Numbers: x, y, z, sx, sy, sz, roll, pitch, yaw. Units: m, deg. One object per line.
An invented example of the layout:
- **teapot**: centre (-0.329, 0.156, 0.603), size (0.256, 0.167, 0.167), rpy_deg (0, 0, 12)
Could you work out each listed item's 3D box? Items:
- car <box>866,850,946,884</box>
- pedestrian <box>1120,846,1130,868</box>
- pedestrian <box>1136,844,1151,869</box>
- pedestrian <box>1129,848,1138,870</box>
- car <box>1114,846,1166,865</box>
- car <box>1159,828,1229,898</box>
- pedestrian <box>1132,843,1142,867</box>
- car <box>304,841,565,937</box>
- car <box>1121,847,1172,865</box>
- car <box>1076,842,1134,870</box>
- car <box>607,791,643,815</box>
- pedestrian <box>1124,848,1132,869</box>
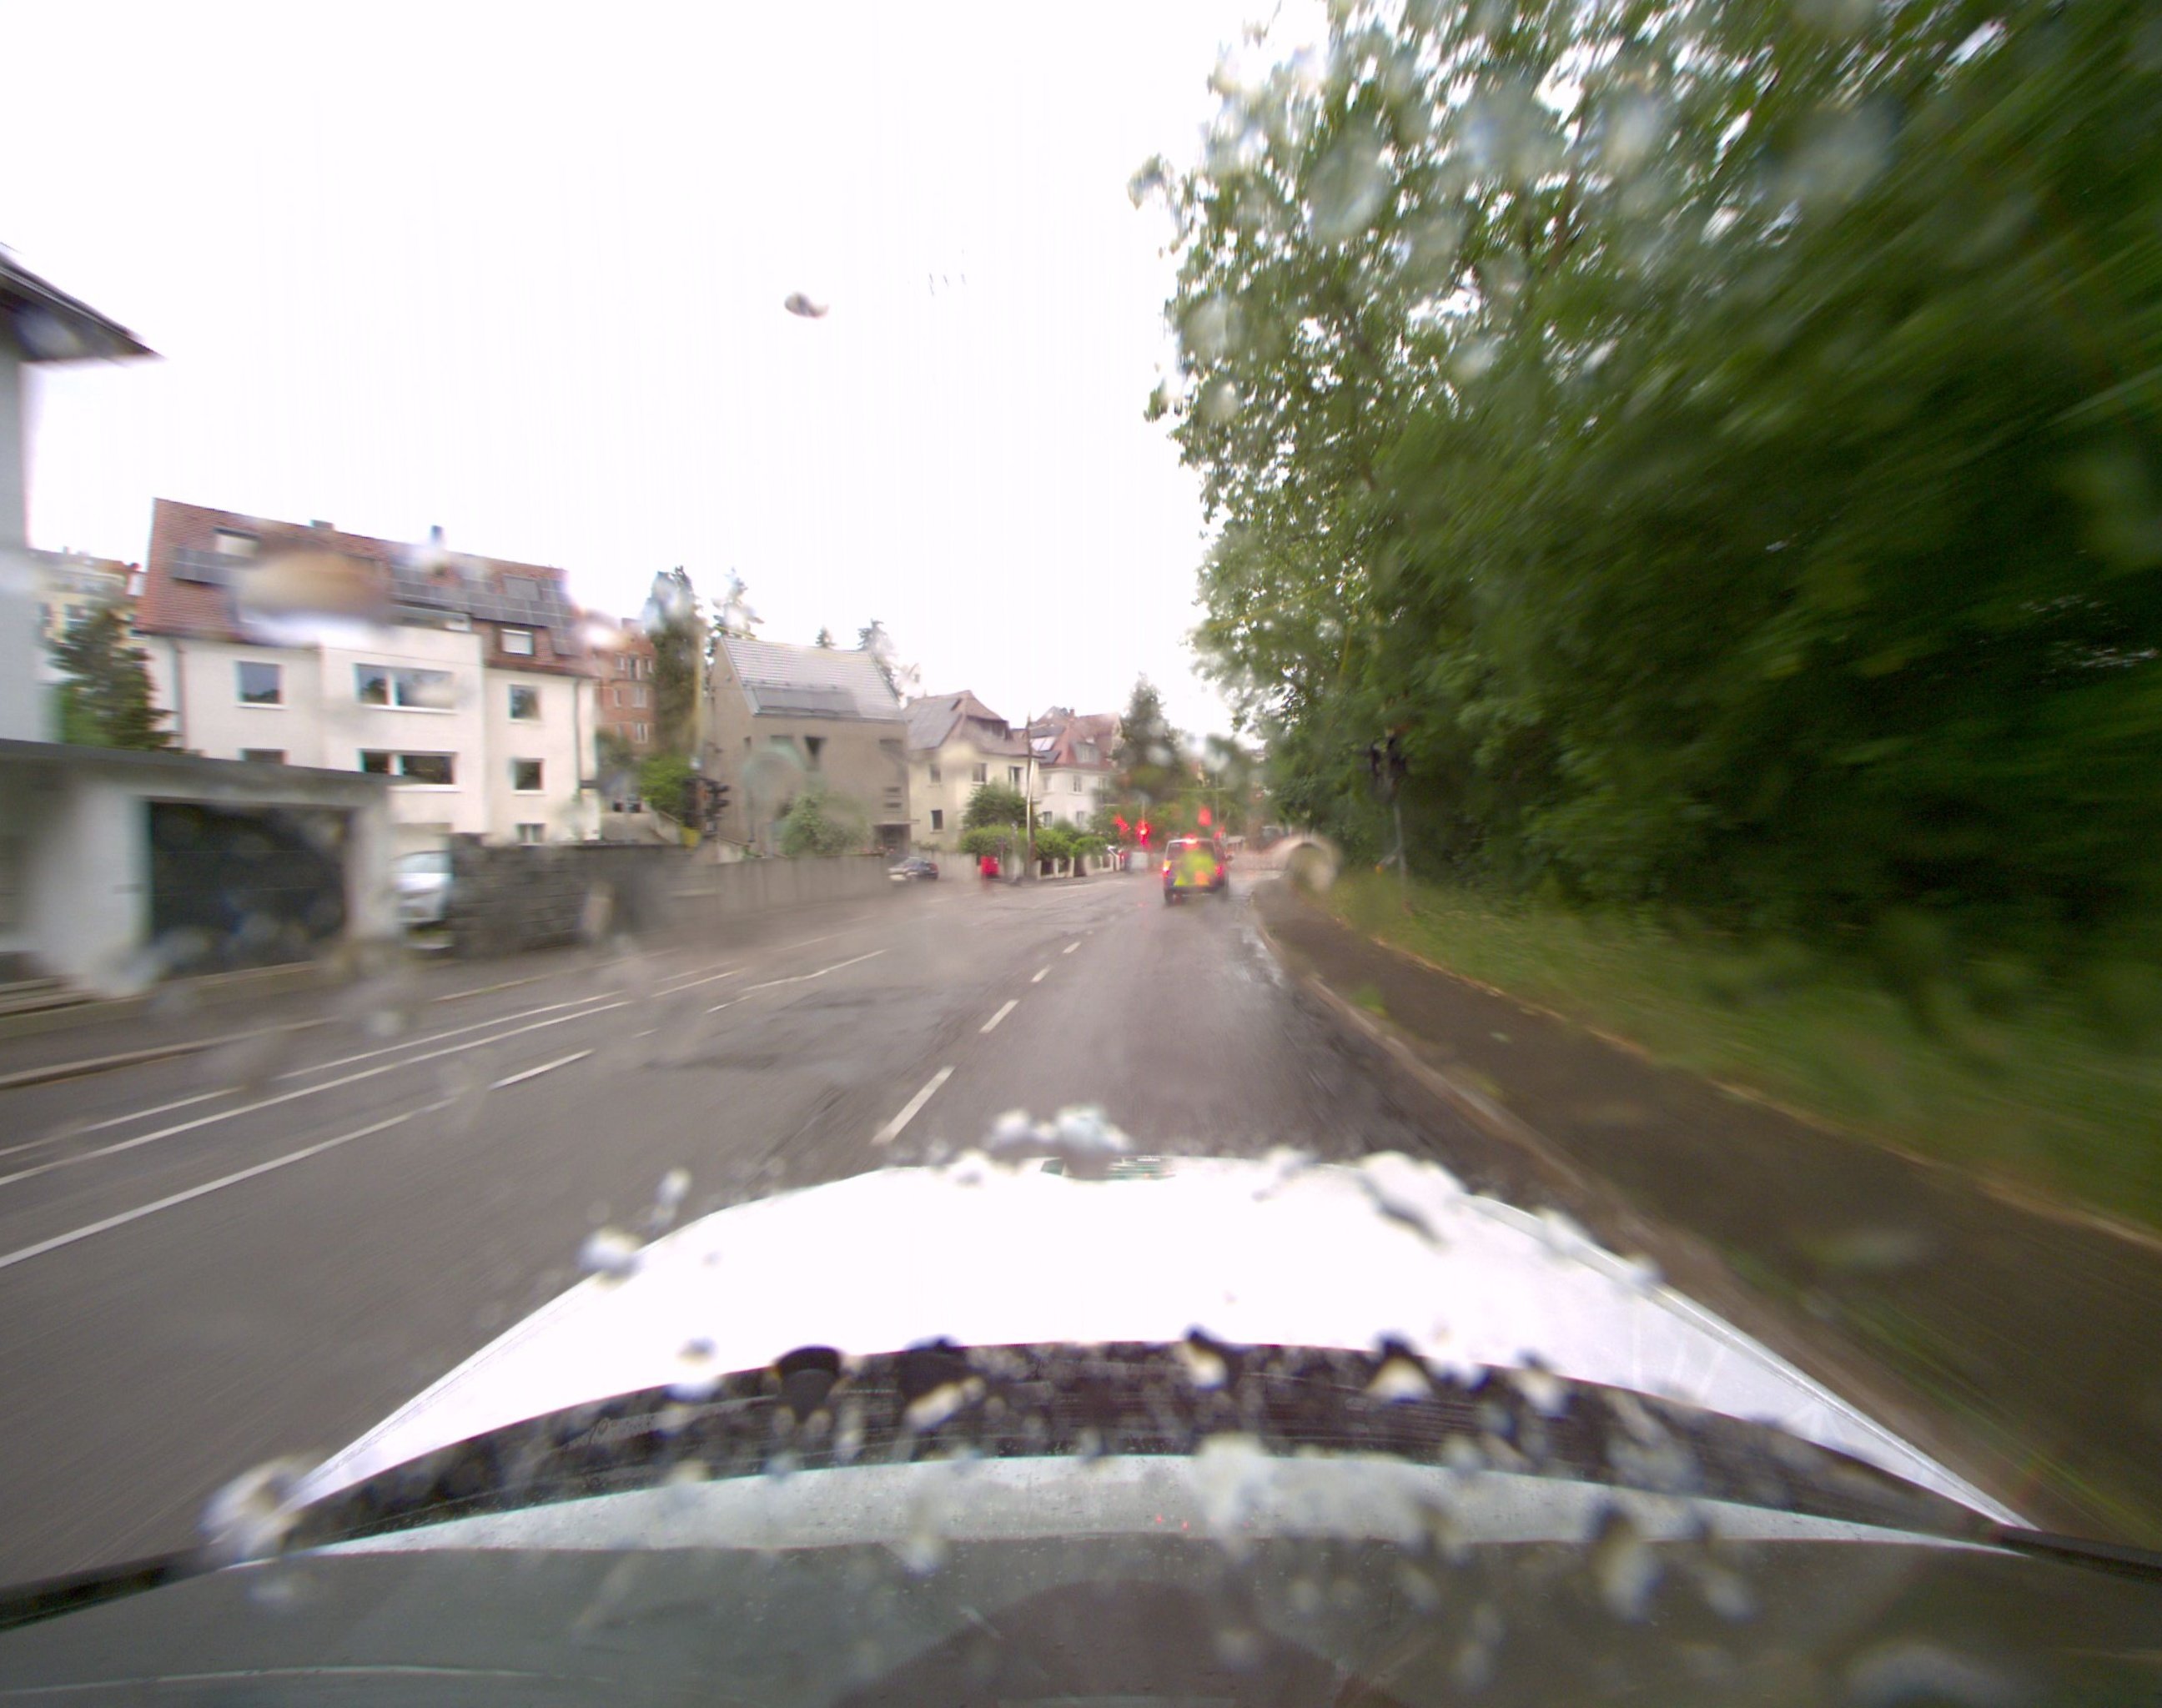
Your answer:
- **car**: centre (-8.041, 0.558, 37.265), size (1.849, 1.443, 3.952), rpy_deg (-2, 1, -42)
- **pedestrian**: centre (3.156, 0.232, 58.286), size (0.621, 1.522, 0.595), rpy_deg (0, -2, 17)
- **pedestrian**: centre (4.467, 0.176, 58.332), size (0.883, 1.787, 0.831), rpy_deg (0, -2, 14)
- **pedestrian**: centre (3.713, 0.342, 57.547), size (0.558, 1.582, 0.470), rpy_deg (0, -2, 17)
- **car**: centre (4.916, 0.129, 68.127), size (3.950, 1.486, 1.770), rpy_deg (0, -2, 26)
- **car**: centre (3.665, 0.262, 26.924), size (1.984, 2.013, 4.409), rpy_deg (-4, 0, 6)
- **pedestrian**: centre (4.099, 0.084, 59.349), size (0.621, 1.715, 0.595), rpy_deg (0, -2, 17)
- **car**: centre (-11.408, 0.556, 14.743), size (1.770, 1.464, 3.616), rpy_deg (-2, 0, 0)
- **car**: centre (5.655, 0.140, 70.164), size (3.950, 1.486, 1.770), rpy_deg (0, -2, 26)
- **car**: centre (1.813, 0.137, 61.215), size (3.950, 2.013, 1.841), rpy_deg (-1, 0, 27)
- **car**: centre (-32.762, -3.634, 58.507), size (1.790, 1.464, 3.576), rpy_deg (-2, 0, -37)
- **pedestrian**: centre (3.399, 0.343, 58.956), size (0.521, 1.507, 0.431), rpy_deg (0, -2, 17)
